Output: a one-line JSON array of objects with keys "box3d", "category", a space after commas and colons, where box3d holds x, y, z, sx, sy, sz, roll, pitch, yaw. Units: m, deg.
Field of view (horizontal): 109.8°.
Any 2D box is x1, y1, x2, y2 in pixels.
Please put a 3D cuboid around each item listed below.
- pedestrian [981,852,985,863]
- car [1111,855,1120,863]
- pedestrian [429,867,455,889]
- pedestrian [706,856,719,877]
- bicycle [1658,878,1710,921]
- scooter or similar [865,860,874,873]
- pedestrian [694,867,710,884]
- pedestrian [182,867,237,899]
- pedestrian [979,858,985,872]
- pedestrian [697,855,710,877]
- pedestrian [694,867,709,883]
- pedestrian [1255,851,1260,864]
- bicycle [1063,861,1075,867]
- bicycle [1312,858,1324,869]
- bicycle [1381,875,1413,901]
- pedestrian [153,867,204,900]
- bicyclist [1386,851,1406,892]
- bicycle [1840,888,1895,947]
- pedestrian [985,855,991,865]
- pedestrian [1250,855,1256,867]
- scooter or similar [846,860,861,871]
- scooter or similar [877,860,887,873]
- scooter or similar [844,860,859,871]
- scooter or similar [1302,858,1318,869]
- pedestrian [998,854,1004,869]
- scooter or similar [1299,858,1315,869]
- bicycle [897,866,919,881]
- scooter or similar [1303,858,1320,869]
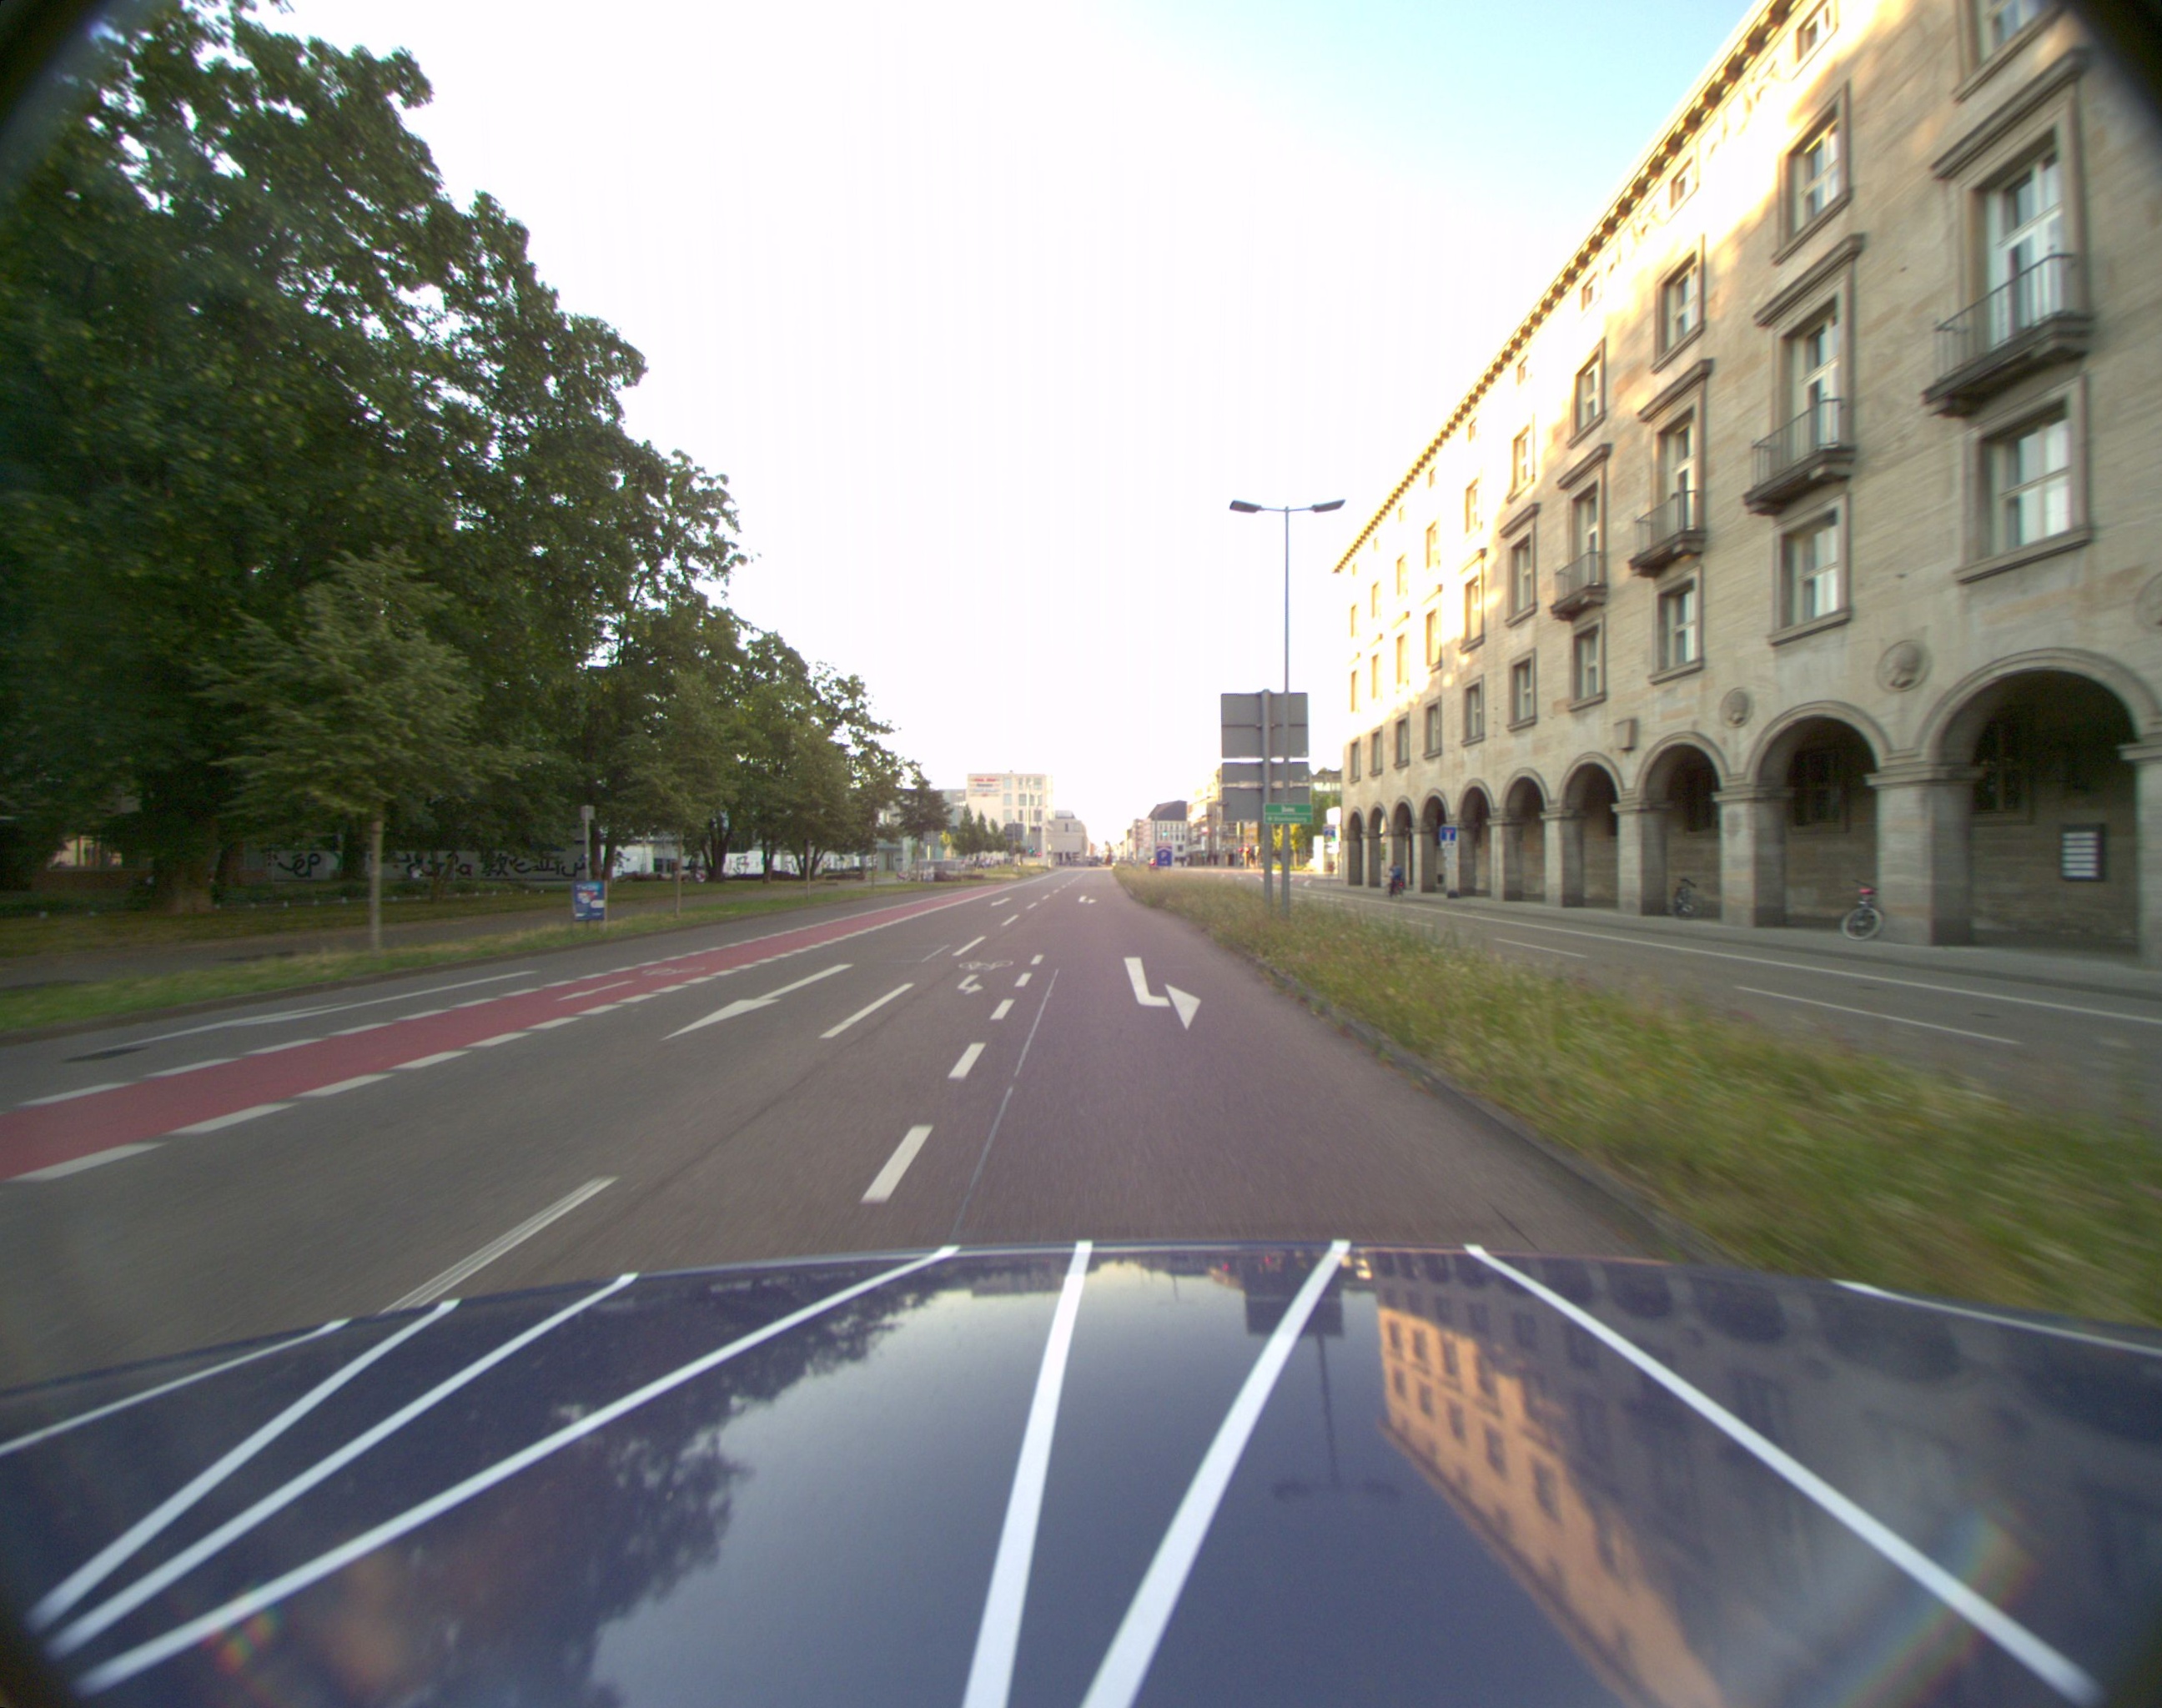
[{"box3d": [-17.177, 0.574, 133.049, 0.604, 1.843, 0.587, 0, 0, 7], "category": "pedestrian"}, {"box3d": [8.027, 1.215, 175.952, 2.071, 1.642, 3.999, 0, 3, 3], "category": "car"}, {"box3d": [-34.486, 1.297, 41.011, 0.788, 1.157, 0.766, 0, 0, -4], "category": "pedestrian"}, {"box3d": [-31.194, 1.044, 64.288, 0.768, 1.810, 0.601, 0, 0, 17], "category": "pedestrian"}, {"box3d": [15.875, 1.175, 20.044, 0.477, 0.999, 2.008, 0, 0, 21], "category": "bicycle"}, {"box3d": [-20.118, 1.174, 72.357, 0.474, 1.213, 1.574, 2, 0, -5], "category": "scooter or similar"}, {"box3d": [-20.094, 1.138, 40.279, 0.682, 0.879, 0.592, 0, 0, -23], "category": "pedestrian"}, {"box3d": [-34.533, 1.142, 30.124, 1.134, 1.253, 0.906, 0, 0, 4], "category": "pedestrian"}, {"box3d": [-13.312, 1.492, 102.021, 0.644, 1.922, 0.619, 0, 0, 4], "category": "pedestrian"}, {"box3d": [-31.675, 1.015, 63.714, 0.768, 1.845, 0.601, 0, 0, 17], "category": "pedestrian"}, {"box3d": [-20.372, 1.130, 40.826, 0.682, 0.879, 0.622, 0, 0, -22], "category": "pedestrian"}, {"box3d": [26.382, 0.495, 113.589, 0.660, 1.921, 0.648, 0, -1, 3], "category": "pedestrian"}, {"box3d": [-2.748, 2.316, 177.132, 2.804, 1.208, 0.765, 0, -1, 11], "category": "bicycle"}, {"box3d": [27.904, 1.121, 89.629, 0.618, 1.316, 2.509, 0, 0, 0], "category": "bicycle"}, {"box3d": [13.188, 1.412, 31.766, 0.543, 1.000, 2.005, 0, 1, 2], "category": "bicycle"}, {"box3d": [-34.664, 1.129, 29.177, 1.134, 1.253, 0.726, 0, 0, 4], "category": "pedestrian"}, {"box3d": [13.187, 0.731, 31.785, 0.537, 1.683, 0.748, 0, 1, 2], "category": "bicyclist"}, {"box3d": [15.512, 1.218, 15.013, 0.477, 0.999, 2.009, 0, 0, 38], "category": "bicycle"}, {"box3d": [-16.456, 1.031, 134.177, 0.896, 1.843, 0.725, 0, 0, -32], "category": "pedestrian"}, {"box3d": [25.664, 1.008, 113.275, 0.701, 1.826, 0.776, 0, 0, 3], "category": "pedestrian"}, {"box3d": [-25.579, 1.268, 85.392, 1.573, 1.213, 0.474, -2, 1, 0], "category": "scooter or similar"}, {"box3d": [-18.944, 1.162, 72.402, 0.424, 1.213, 1.399, 2, 0, 3], "category": "scooter or similar"}, {"box3d": [-25.534, 1.279, 84.574, 1.573, 1.213, 0.474, -2, 1, 0], "category": "scooter or similar"}, {"box3d": [27.768, 1.167, 92.077, 1.836, 1.297, 0.423, 0, 0, -4], "category": "scooter or similar"}, {"box3d": [-10.766, 0.982, 102.061, 0.644, 1.922, 0.619, 0, 0, 2], "category": "pedestrian"}, {"box3d": [27.694, 1.168, 93.068, 1.863, 1.297, 0.500, 0, 0, -4], "category": "scooter or similar"}, {"box3d": [-11.954, 1.343, 52.614, 0.494, 0.999, 1.901, 3, 0, 22], "category": "bicycle"}, {"box3d": [27.792, 1.160, 91.635, 1.840, 1.297, 0.423, 0, 0, -4], "category": "scooter or similar"}]
